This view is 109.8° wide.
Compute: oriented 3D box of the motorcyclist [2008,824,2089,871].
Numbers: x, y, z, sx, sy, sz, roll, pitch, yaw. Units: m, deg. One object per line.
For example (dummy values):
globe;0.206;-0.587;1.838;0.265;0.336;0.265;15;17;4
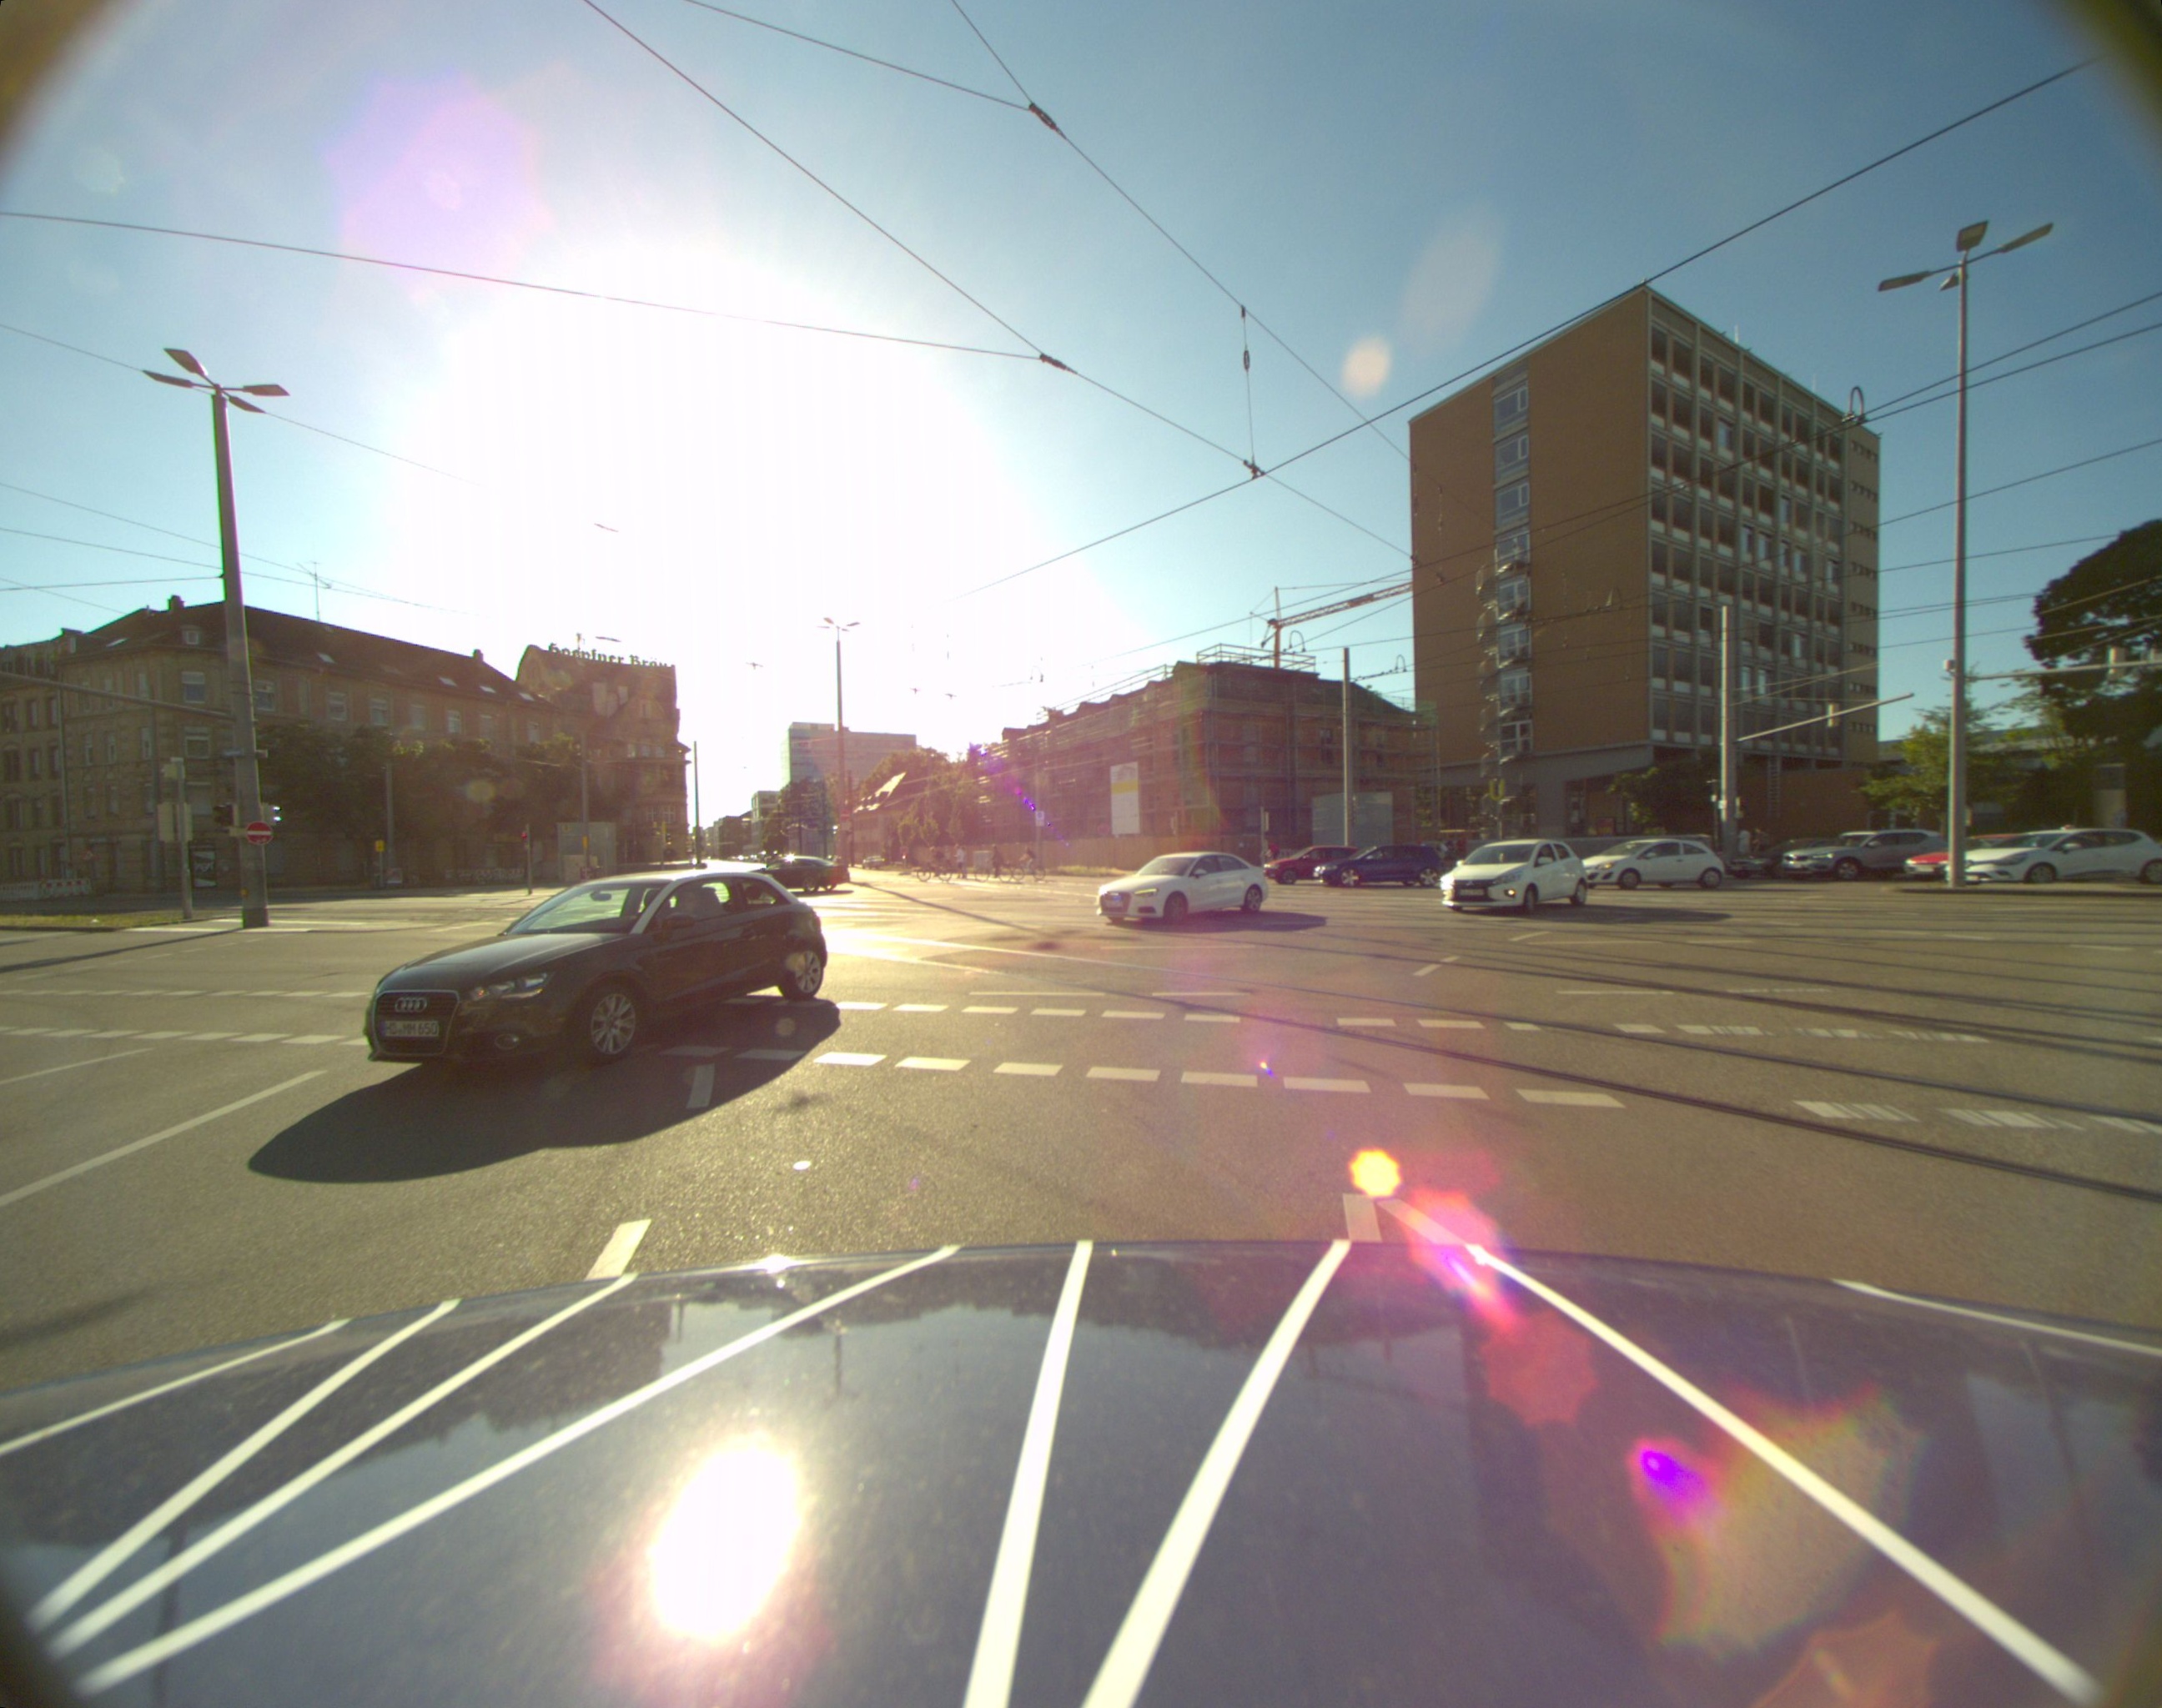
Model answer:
motorcyclist;35.660;-0.204;28.037;1.452;1.657;1.119;-1;-1;5

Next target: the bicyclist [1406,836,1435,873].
bicyclist;14.755;0.019;33.039;1.015;1.579;0.694;0;5;10

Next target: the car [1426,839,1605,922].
car;9.340;0.486;16.248;3.876;1.484;1.717;-2;2;-33

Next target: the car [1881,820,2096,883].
car;26.724;-0.040;22.488;3.997;1.673;2.000;-1;-2;-1

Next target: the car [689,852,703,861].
car;-89.801;0.623;177.168;2.004;2.001;3.990;0;-2;-38

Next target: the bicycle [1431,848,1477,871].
bicycle;17.271;0.243;35.198;1.875;0.965;0.713;1;5;27

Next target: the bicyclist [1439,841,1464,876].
bicyclist;17.193;0.199;35.236;1.014;1.579;0.695;1;5;27

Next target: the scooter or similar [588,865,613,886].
scooter or similar;-27.926;1.236;44.171;1.442;1.194;0.732;-1;0;35

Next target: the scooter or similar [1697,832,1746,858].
scooter or similar;33.295;-0.437;39.509;1.825;1.239;0.802;-2;-2;33

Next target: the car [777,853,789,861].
car;-60.379;0.631;154.067;1.759;1.455;4.011;-3;0;-29

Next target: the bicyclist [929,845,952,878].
bicyclist;-7.385;0.407;39.961;0.973;1.685;0.648;-1;0;8

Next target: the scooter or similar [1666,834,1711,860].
scooter or similar;31.463;-0.334;39.372;0.802;1.239;1.703;0;-2;-43

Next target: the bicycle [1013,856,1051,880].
bicycle;-2.460;0.700;38.109;1.773;1.116;0.649;-2;-1;10

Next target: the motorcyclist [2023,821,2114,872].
motorcyclist;33.061;-0.231;25.470;1.452;1.657;1.119;-1;-1;5

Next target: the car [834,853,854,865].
car;-32.227;0.627;103.140;1.759;1.455;4.011;-3;0;-29

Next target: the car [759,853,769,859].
car;-76.041;0.465;182.231;1.759;1.455;4.011;-3;0;-29

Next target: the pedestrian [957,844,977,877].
pedestrian;-6.546;0.396;43.647;0.818;1.837;0.692;-2;-2;30

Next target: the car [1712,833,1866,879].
car;26.171;0.061;28.175;4.015;1.455;1.756;-3;1;1

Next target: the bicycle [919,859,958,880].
bicycle;-7.484;0.810;39.974;1.904;1.021;0.648;-1;0;8

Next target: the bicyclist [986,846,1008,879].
bicyclist;-4.085;0.402;36.970;0.974;1.559;0.648;-1;-1;-1

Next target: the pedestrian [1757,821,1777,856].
pedestrian;32.827;-0.738;36.351;0.504;1.625;0.427;-1;-1;-9

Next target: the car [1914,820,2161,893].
car;24.806;0.040;19.579;4.278;1.667;2.000;-2;1;5

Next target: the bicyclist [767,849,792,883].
bicyclist;-15.376;0.595;38.748;0.974;1.685;0.768;-1;0;-3

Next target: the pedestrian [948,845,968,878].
pedestrian;-6.938;0.427;42.988;0.818;1.837;0.692;-2;-2;30

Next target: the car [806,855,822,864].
car;-44.145;0.916;125.445;1.759;1.455;4.011;-3;0;-29

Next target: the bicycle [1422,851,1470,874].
bicycle;16.424;0.378;34.207;1.875;0.965;0.713;1;5;22

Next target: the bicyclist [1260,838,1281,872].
bicyclist;9.735;0.062;39.096;1.015;1.699;0.694;0;5;13

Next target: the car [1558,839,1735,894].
car;16.556;0.326;22.370;3.913;1.456;1.783;-1;2;-2

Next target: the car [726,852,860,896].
car;-11.561;0.798;30.645;4.647;1.484;1.818;-3;1;8

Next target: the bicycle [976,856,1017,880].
bicycle;-4.092;0.690;36.964;1.902;1.116;0.648;-1;-1;-1

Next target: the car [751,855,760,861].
car;-86.654;0.958;202.018;1.759;1.455;4.011;-3;0;-29

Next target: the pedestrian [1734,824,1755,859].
pedestrian;33.249;-0.629;38.086;0.623;1.701;0.487;-2;-1;19

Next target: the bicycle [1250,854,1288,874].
bicycle;9.702;0.504;39.134;1.876;0.965;0.712;0;5;14

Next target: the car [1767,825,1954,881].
car;25.719;-0.014;25.206;3.996;1.597;2.001;-2;-1;4

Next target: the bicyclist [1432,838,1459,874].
bicyclist;16.389;0.071;34.196;1.014;1.579;0.694;1;5;22

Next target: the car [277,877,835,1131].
car;-4.056;1.002;6.747;1.692;1.380;3.835;-1;1;15

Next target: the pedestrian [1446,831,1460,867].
pedestrian;18.043;-0.233;36.878;0.620;1.730;0.666;0;3;26

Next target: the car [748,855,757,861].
car;-89.662;1.189;207.218;1.759;1.455;4.011;-3;0;-29

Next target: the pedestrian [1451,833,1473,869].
pedestrian;18.618;-0.146;37.123;0.733;1.730;0.621;-1;3;-5

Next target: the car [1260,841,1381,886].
car;9.112;0.382;29.159;4.015;1.455;1.757;-3;-2;3

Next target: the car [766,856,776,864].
car;-70.323;1.365;172.291;1.759;1.596;4.011;-3;0;-29

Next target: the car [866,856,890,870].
car;-23.147;1.060;86.518;1.759;1.455;4.011;-3;0;-29

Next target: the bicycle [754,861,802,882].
bicycle;-15.440;0.870;38.741;2.104;1.021;0.768;-1;0;-3

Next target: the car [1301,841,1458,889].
car;10.139;0.380;26.063;4.650;1.483;1.818;-1;-1;1

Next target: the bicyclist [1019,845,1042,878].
bicyclist;-2.534;0.377;38.135;0.973;1.651;0.649;-2;-1;10

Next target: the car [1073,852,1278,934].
car;2.137;0.726;16.398;4.465;1.380;1.821;-3;2;-40

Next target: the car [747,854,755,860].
car;-93.960;0.874;216.196;1.759;1.455;4.011;-3;0;-29

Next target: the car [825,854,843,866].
car;-35.223;0.842;108.268;1.759;1.455;4.011;-3;0;-29
